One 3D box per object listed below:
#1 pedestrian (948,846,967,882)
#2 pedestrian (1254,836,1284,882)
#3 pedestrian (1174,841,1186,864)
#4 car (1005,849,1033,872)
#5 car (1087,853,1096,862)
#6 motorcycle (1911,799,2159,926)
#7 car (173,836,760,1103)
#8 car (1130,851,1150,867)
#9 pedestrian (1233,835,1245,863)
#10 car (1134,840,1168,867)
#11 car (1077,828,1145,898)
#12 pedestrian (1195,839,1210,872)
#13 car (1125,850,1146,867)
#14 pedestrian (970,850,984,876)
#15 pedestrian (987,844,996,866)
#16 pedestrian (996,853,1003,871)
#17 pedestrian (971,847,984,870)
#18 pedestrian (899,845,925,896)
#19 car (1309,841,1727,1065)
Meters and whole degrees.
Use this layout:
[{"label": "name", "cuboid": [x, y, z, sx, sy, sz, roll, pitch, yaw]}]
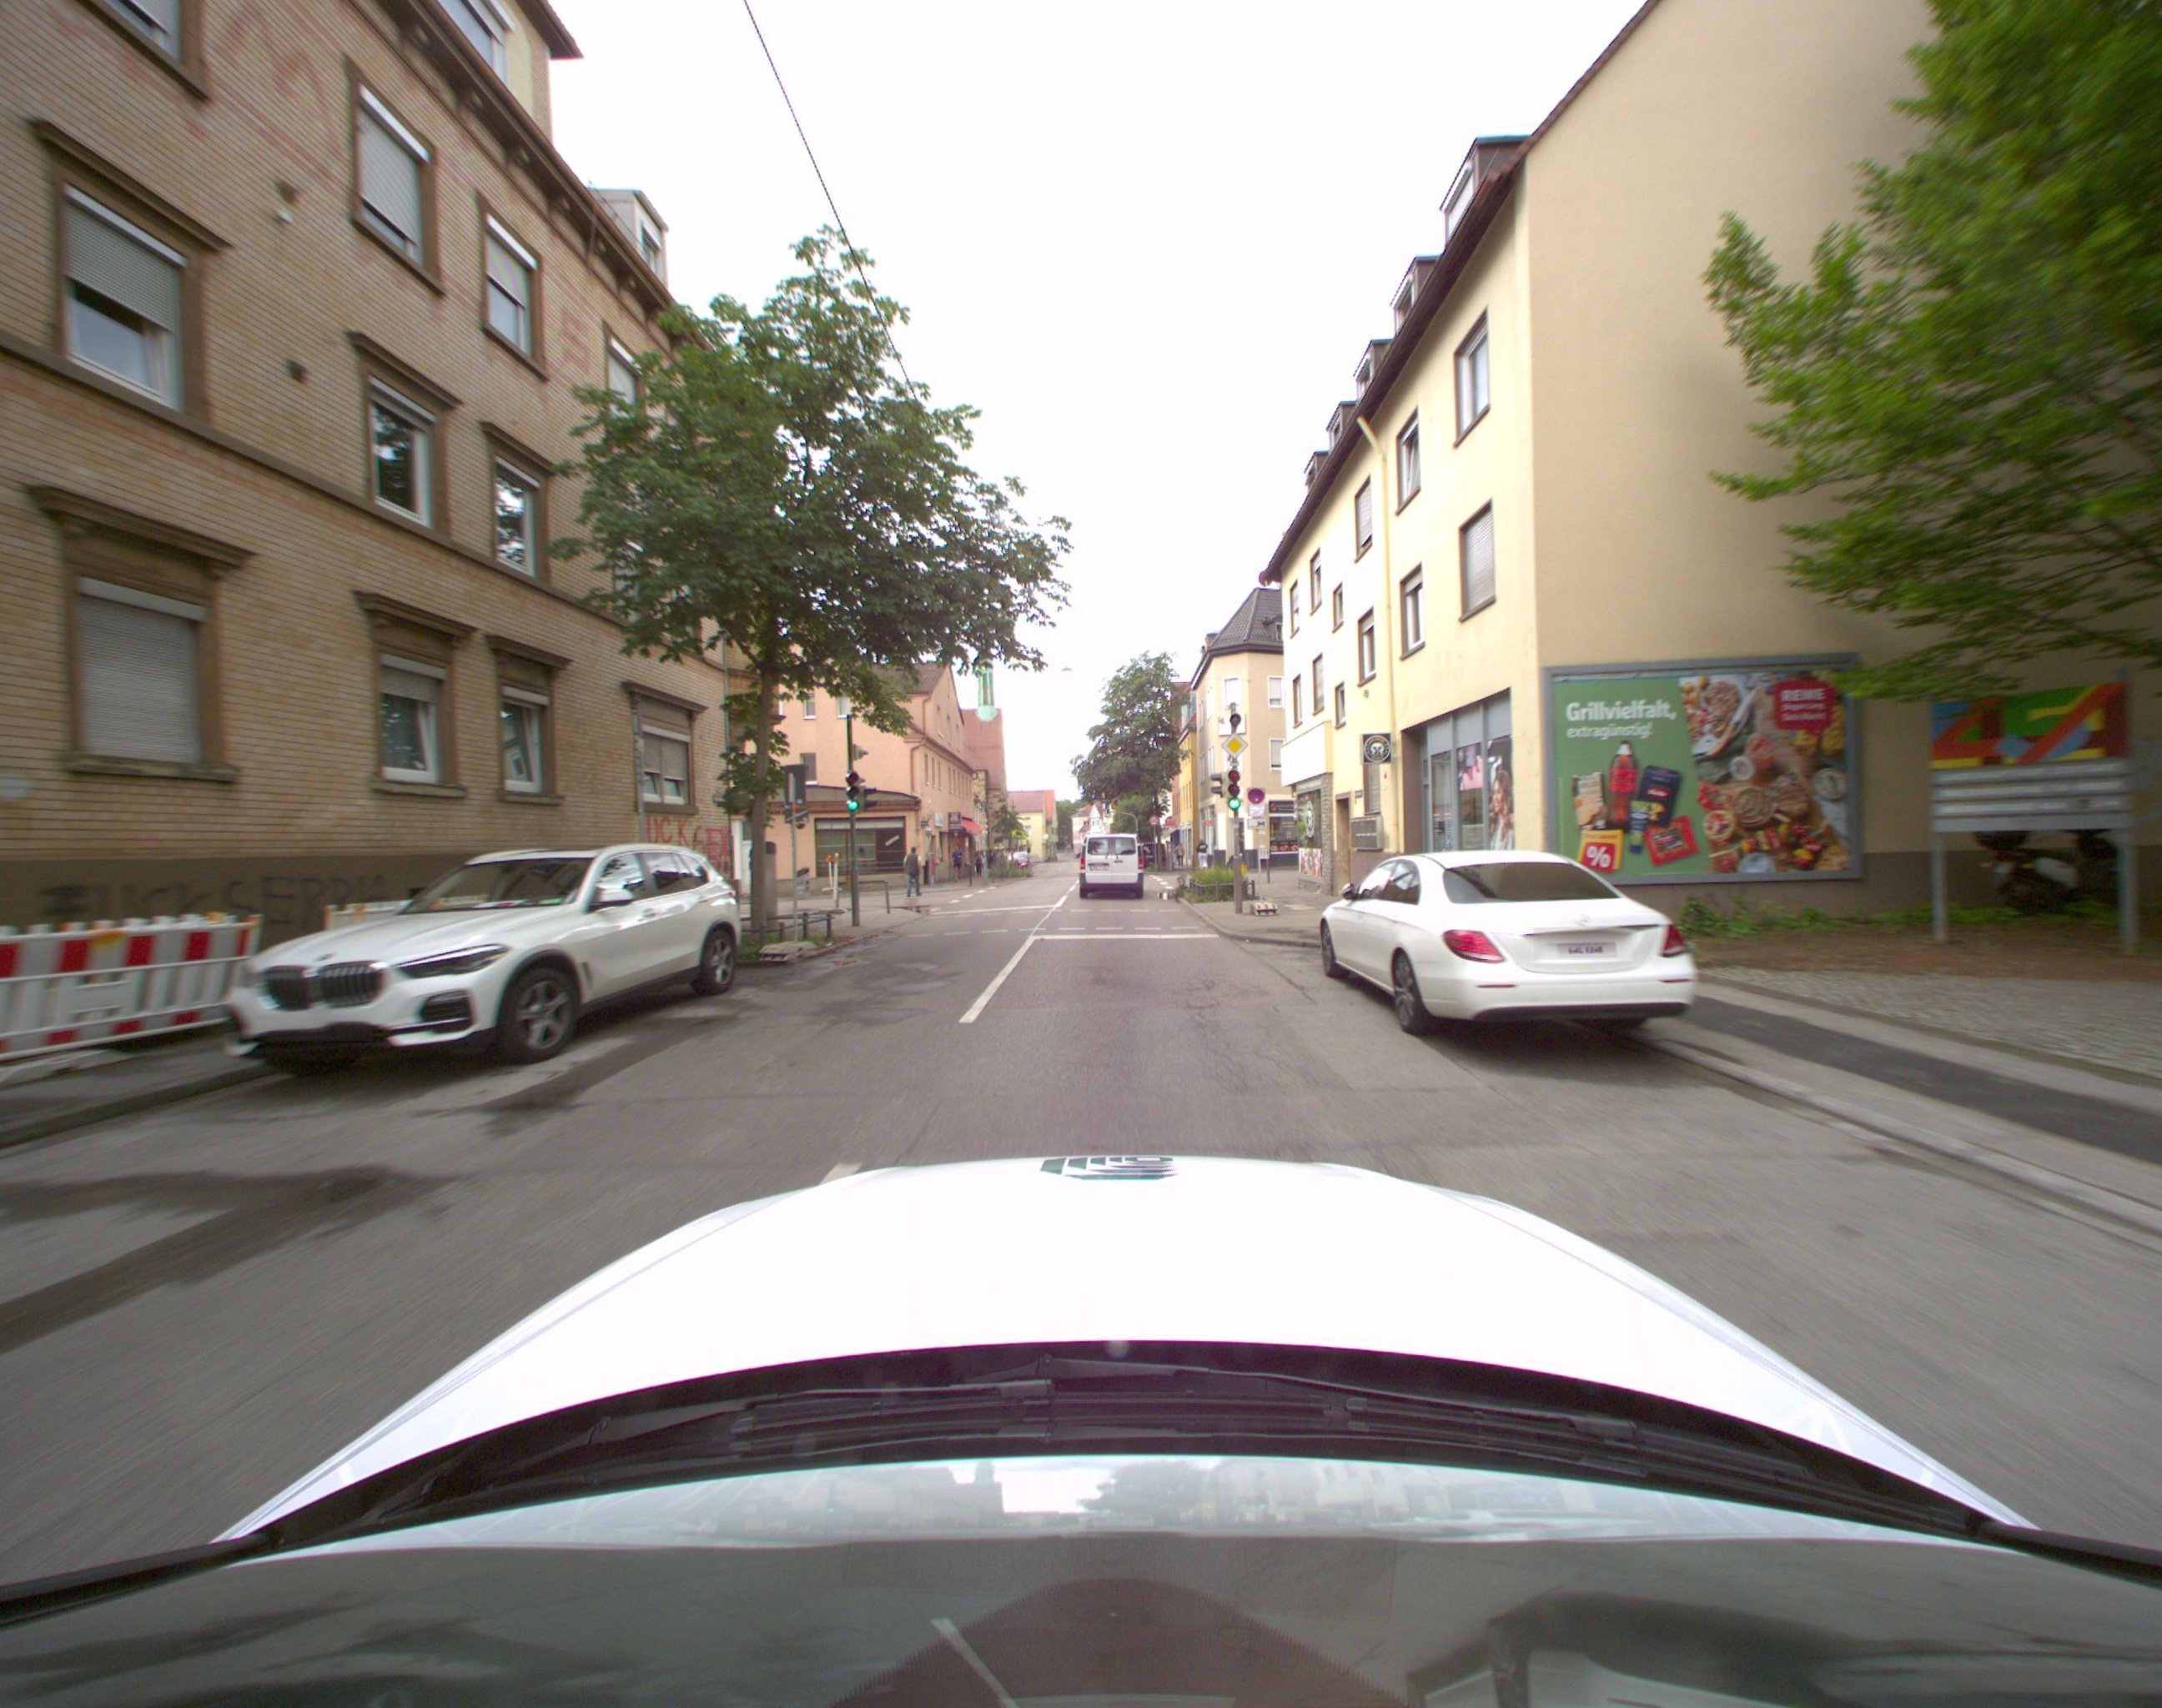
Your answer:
[{"label": "pedestrian", "cuboid": [-6.131, 0.480, 40.479, 0.736, 1.718, 1.156, -1, 0, -2]}, {"label": "pedestrian", "cuboid": [6.960, 0.189, 30.140, 0.679, 1.664, 0.792, -2, -1, -35]}, {"label": "pedestrian", "cuboid": [7.272, -0.113, 59.989, 0.699, 1.649, 0.888, -3, 0, 0]}, {"label": "car", "cuboid": [-4.671, 0.466, 62.023, 1.697, 1.574, 4.450, -4, 0, 0]}, {"label": "car", "cuboid": [2.393, 0.902, 185.632, 1.929, 2.014, 3.998, -1, 0, -1]}, {"label": "motorcycle", "cuboid": [10.954, 0.095, 9.393, 1.987, 1.201, 0.674, -6, -1, -1]}, {"label": "car", "cuboid": [-5.125, 0.773, 7.914, 1.884, 1.712, 4.743, -3, 0, 2]}, {"label": "car", "cuboid": [5.341, 0.442, 74.101, 1.546, 1.333, 3.811, -1, 0, -1]}, {"label": "pedestrian", "cuboid": [8.759, -0.271, 45.074, 0.565, 1.560, 0.521, -1, -1, 1]}, {"label": "car", "cuboid": [4.819, -0.006, 56.583, 1.814, 1.781, 4.401, -1, 0, -1]}, {"label": "car", "cuboid": [0.890, 0.253, 24.886, 1.866, 1.912, 4.001, -1, 0, 1]}, {"label": "pedestrian", "cuboid": [6.340, 0.070, 42.400, 0.612, 1.653, 0.982, -1, 0, 0]}, {"label": "car", "cuboid": [5.207, 0.398, 78.698, 1.706, 1.560, 3.784, -1, 0, -1]}, {"label": "pedestrian", "cuboid": [-6.493, 0.555, 50.932, 0.736, 1.535, 0.982, -1, 0, -1]}, {"label": "pedestrian", "cuboid": [-7.569, 0.087, 68.774, 0.569, 1.848, 0.697, 1, 0, 1]}, {"label": "pedestrian", "cuboid": [-6.844, 0.674, 68.438, 0.569, 1.554, 0.697, 0, 0, 1]}, {"label": "pedestrian", "cuboid": [-7.389, 0.302, 58.003, 0.733, 1.628, 0.752, -2, 0, -24]}, {"label": "pedestrian", "cuboid": [-5.937, 0.566, 28.663, 0.737, 1.754, 0.981, -1, 0, -4]}, {"label": "car", "cuboid": [3.567, 0.650, 7.816, 1.759, 1.466, 4.789, -1, 0, 5]}]
